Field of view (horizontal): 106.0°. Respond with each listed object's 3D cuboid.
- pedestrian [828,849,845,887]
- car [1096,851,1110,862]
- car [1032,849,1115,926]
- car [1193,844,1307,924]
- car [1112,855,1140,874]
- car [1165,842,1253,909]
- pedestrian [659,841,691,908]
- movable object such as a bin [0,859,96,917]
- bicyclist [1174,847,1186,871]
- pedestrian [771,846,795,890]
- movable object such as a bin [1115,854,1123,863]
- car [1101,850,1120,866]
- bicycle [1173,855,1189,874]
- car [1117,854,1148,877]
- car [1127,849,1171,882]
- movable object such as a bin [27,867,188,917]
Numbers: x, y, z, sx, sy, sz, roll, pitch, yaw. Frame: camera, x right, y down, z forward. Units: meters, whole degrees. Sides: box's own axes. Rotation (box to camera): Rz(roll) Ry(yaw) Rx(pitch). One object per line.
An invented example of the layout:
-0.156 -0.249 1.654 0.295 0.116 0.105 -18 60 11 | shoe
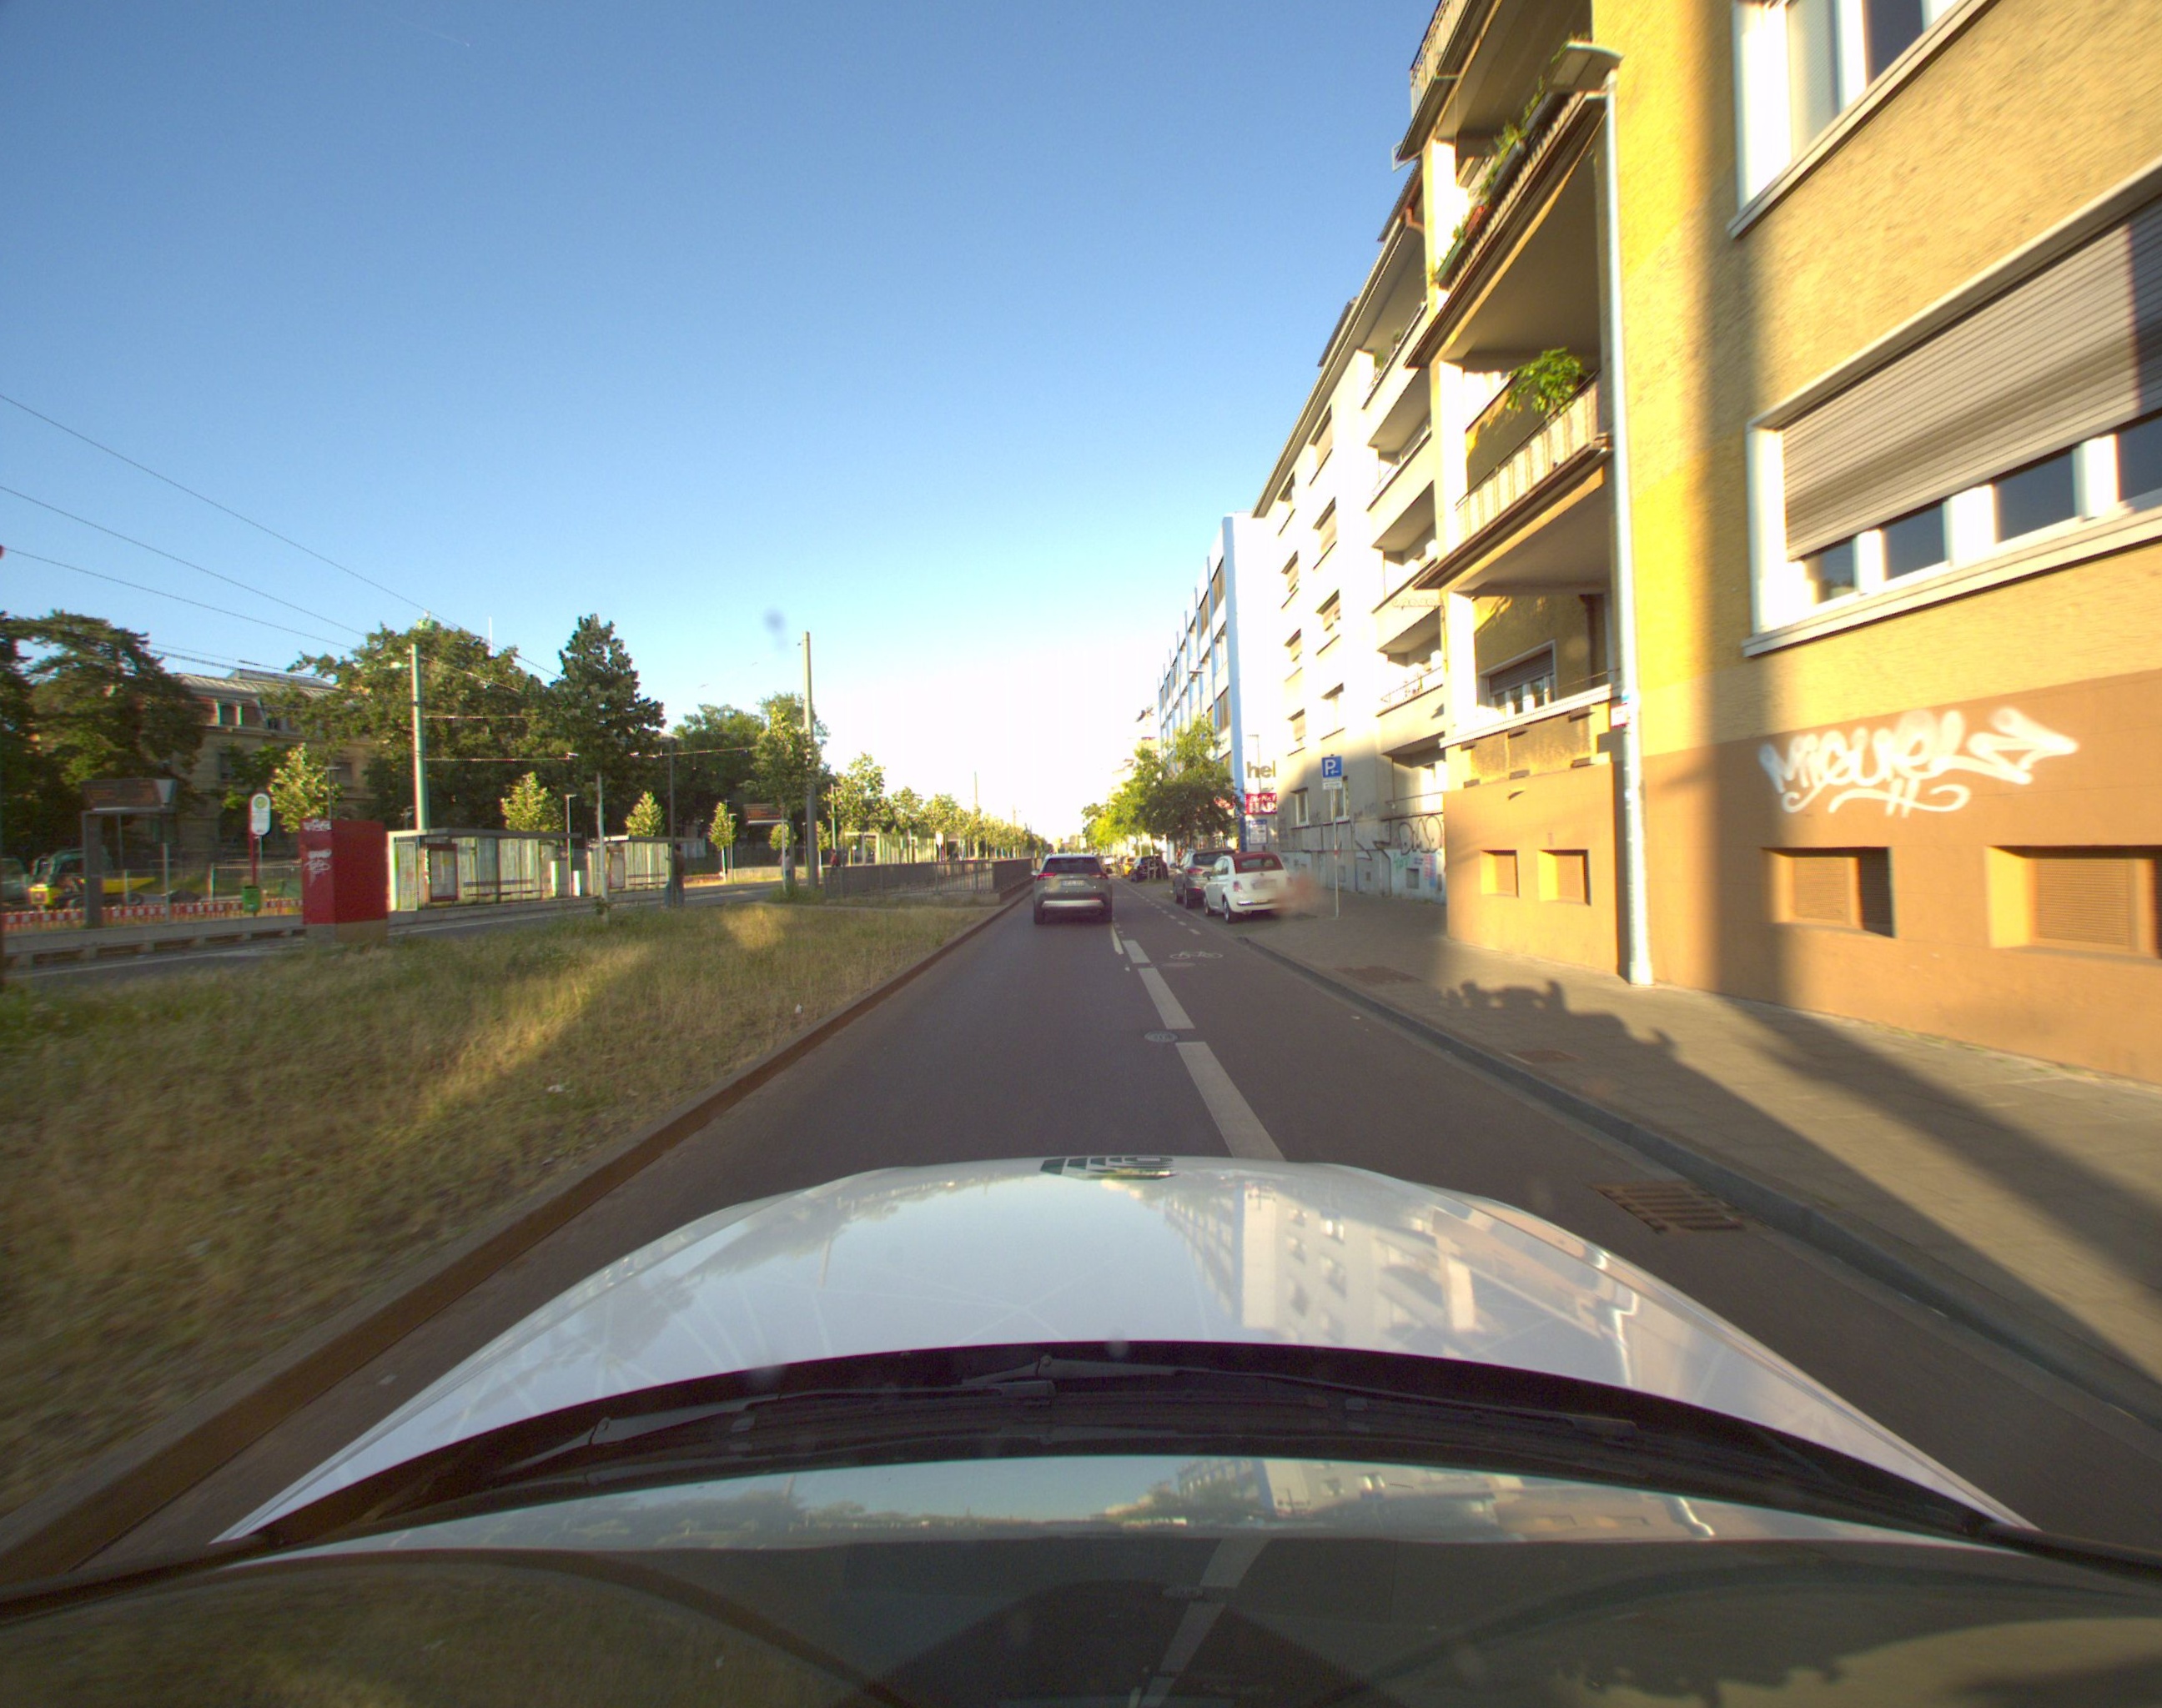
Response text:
-11.359 0.629 37.788 0.635 1.729 0.633 -2 0 -13 | pedestrian
3.424 0.368 125.589 1.789 1.471 4.440 -3 0 -3 | car
-0.241 0.771 20.440 1.853 1.714 4.188 0 -1 -2 | car
3.816 0.634 18.985 1.665 1.517 3.598 -6 0 -2 | car
3.676 0.847 66.909 1.815 1.454 4.125 -3 0 -2 | car
3.691 0.584 24.255 1.751 1.654 4.527 -5 0 0 | car
-11.065 0.559 22.222 0.468 1.787 0.627 -2 -1 7 | pedestrian
-52.329 1.659 40.360 1.986 2.706 4.002 -2 0 2 | movable object such as a bin
6.356 0.338 52.248 0.557 1.475 0.622 -5 -1 -2 | bicyclist
-12.244 0.580 33.451 0.724 1.744 0.634 -3 0 -8 | pedestrian
6.665 0.830 141.465 1.257 1.462 1.122 -2 -1 -4 | movable object such as a bin
3.437 0.478 96.300 1.850 1.706 4.250 -4 0 -2 | car
6.399 0.693 52.208 0.552 1.129 1.972 -5 0 -2 | bicycle
3.575 0.770 56.699 1.679 1.454 4.126 -3 0 -2 | car
3.810 0.630 46.290 1.815 1.566 4.806 -6 0 -2 | car
-48.426 1.814 40.701 1.986 2.246 4.941 -2 0 2 | movable object such as a bin
